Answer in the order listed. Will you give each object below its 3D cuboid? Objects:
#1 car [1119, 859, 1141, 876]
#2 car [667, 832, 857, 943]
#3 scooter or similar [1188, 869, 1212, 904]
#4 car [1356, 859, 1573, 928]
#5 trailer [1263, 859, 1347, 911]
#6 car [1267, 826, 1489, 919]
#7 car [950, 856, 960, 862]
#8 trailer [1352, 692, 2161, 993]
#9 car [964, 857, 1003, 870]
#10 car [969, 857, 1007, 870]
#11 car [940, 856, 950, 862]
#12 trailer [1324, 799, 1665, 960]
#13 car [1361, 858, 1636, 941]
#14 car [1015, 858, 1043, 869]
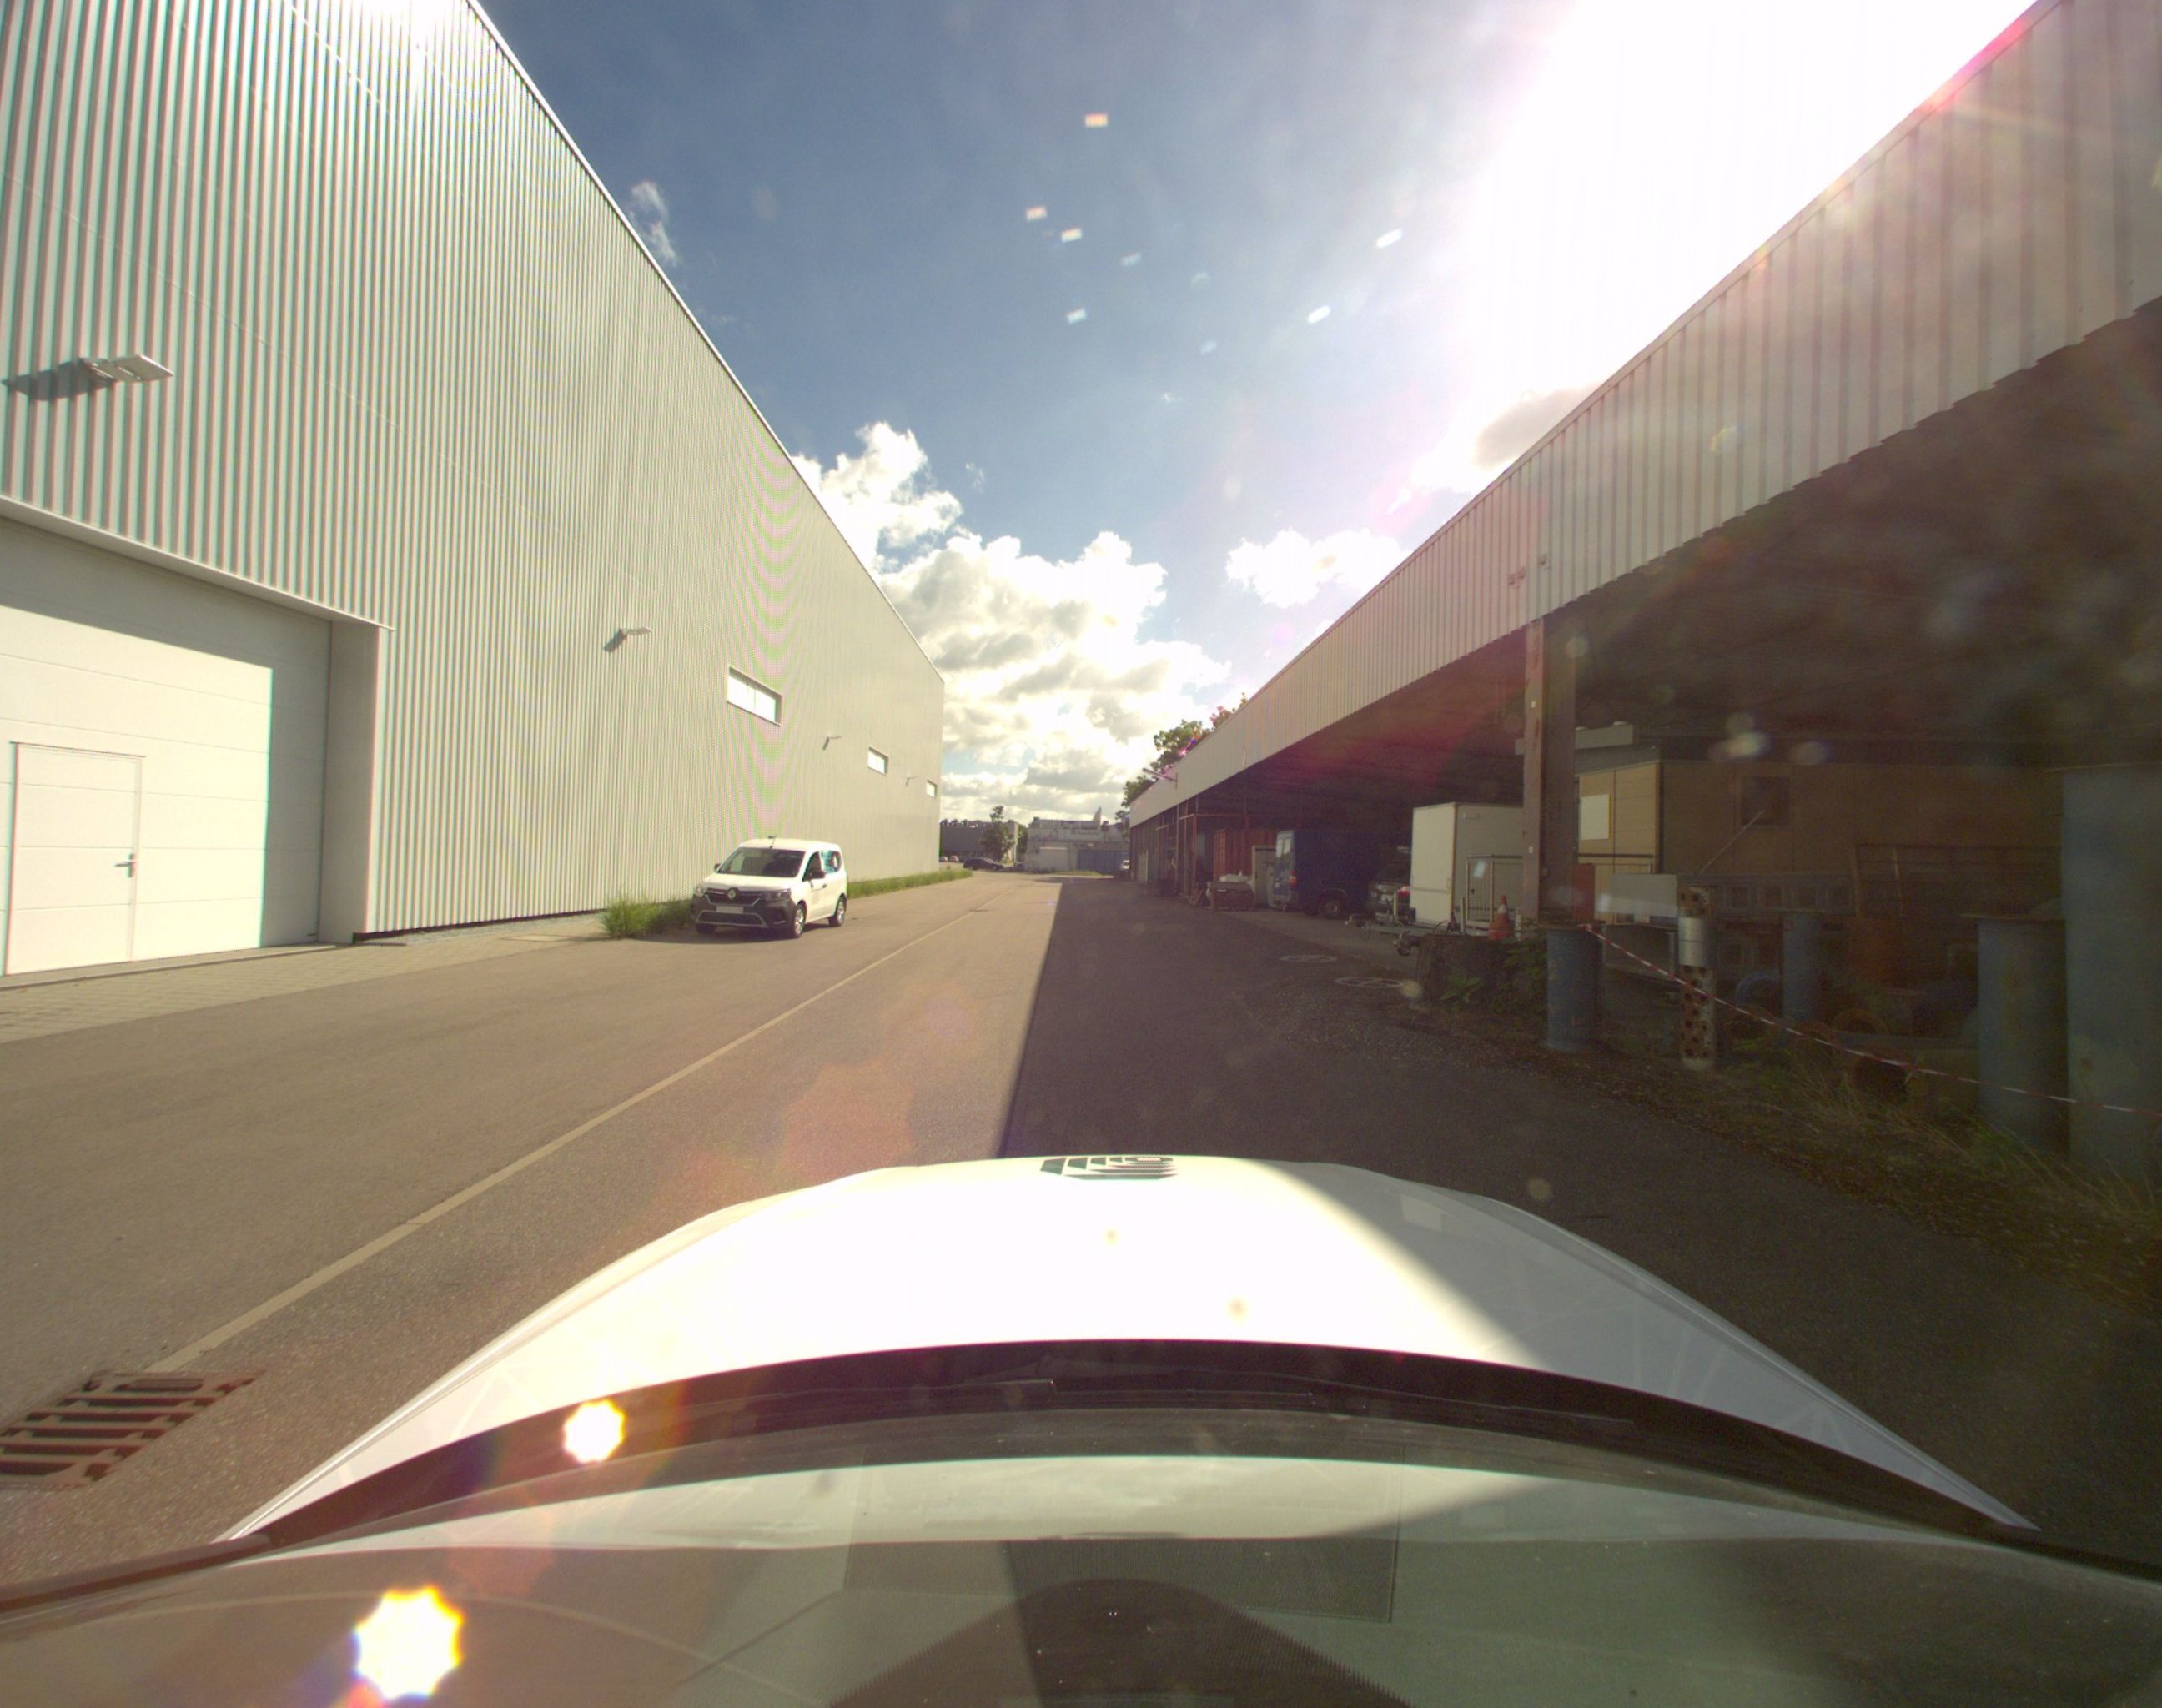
[{"bbox_3d":[5.156,1.433,86.034,1.975,1.593,4.338,2,1,-2],"label":"car"},{"bbox_3d":[-6.018,0.583,16.067,1.923,1.790,4.595,3,0,-1],"label":"car"},{"bbox_3d":[3.983,1.090,27.363,0.519,1.134,1.591,1,-1,-1],"label":"scooter or similar"},{"bbox_3d":[8.616,0.860,18.544,4.096,1.454,1.849,0,-1,-2],"label":"car"},{"bbox_3d":[6.638,0.904,24.280,2.086,1.463,1.642,1,-1,1],"label":"trailer"},{"bbox_3d":[7.806,0.489,21.721,5.203,2.297,2.082,1,-1,-3],"label":"car"},{"bbox_3d":[-30.070,1.210,194.434,1.873,1.537,4.030,0,-1,-4],"label":"car"},{"bbox_3d":[9.022,-0.150,10.392,10.262,3.295,2.674,0,-1,-1],"label":"trailer"},{"bbox_3d":[-11.730,1.195,98.047,4.517,1.443,1.986,1,-2,-2],"label":"car"},{"bbox_3d":[-11.558,1.223,101.311,4.517,1.443,1.902,1,-2,-2],"label":"car"},{"bbox_3d":[-32.387,1.220,194.131,1.873,1.537,4.030,0,-1,-4],"label":"car"},{"bbox_3d":[6.346,0.376,12.818,4.528,2.335,1.688,0,-1,-1],"label":"trailer"},{"bbox_3d":[7.792,0.816,15.460,4.336,1.433,1.862,0,-1,-5],"label":"car"},{"bbox_3d":[-7.992,1.456,125.920,4.267,1.569,1.986,1,-2,-2],"label":"car"}]
